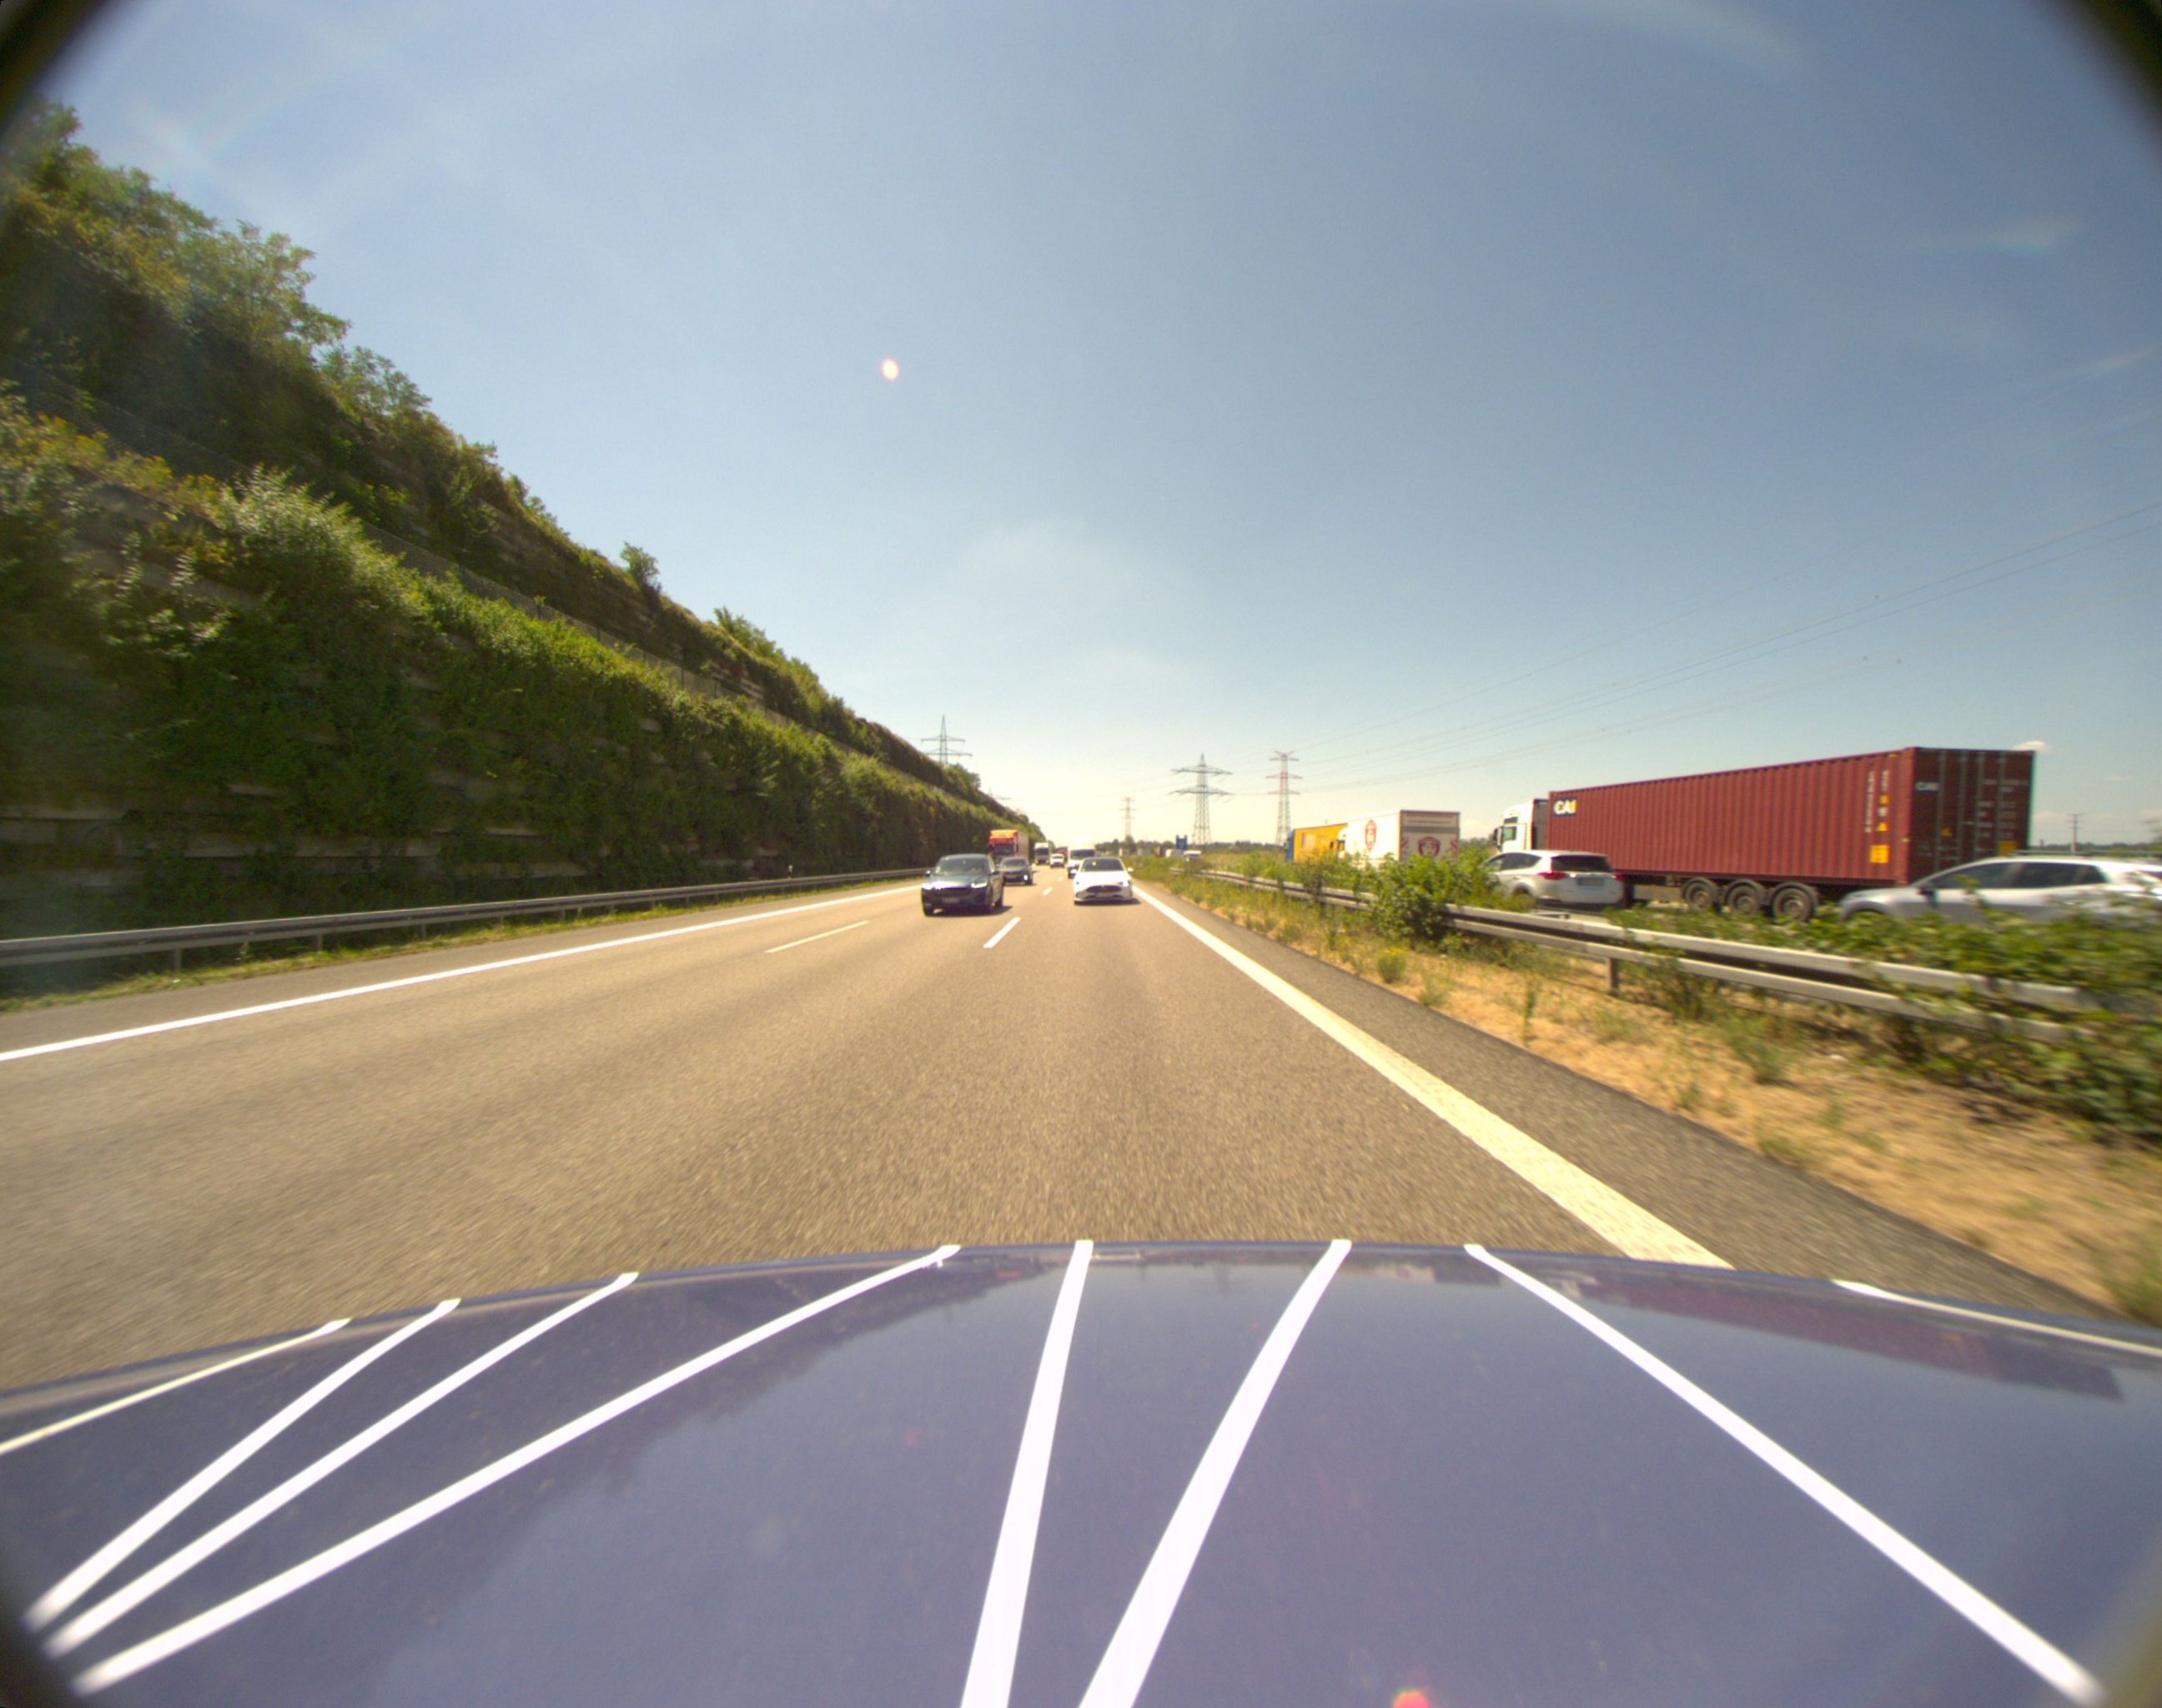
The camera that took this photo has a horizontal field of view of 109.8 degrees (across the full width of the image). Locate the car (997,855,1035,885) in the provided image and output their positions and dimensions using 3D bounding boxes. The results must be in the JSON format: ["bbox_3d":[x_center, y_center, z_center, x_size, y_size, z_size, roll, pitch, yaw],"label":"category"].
[{"bbox_3d":[-3.506,0.857,41.762,1.754,1.516,3.995,-1,0,0],"label":"car"}]

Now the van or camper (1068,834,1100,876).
[{"bbox_3d":[0.154,0.061,53.732,2.102,2.752,6.756,-1,0,-1],"label":"van or camper"}]

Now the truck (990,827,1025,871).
[{"bbox_3d":[-6.913,-0.451,72.389,2.624,3.969,6.526,-1,0,0],"label":"truck"}]

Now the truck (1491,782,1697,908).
[{"bbox_3d":[18.481,-0.303,28.032,3.221,4.134,6.438,0,0,0],"label":"truck"}]

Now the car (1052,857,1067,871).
[{"bbox_3d":[-2.792,1.269,98.470,1.784,1.783,3.999,-1,0,-1],"label":"car"}]

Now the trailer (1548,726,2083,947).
[{"bbox_3d":[18.415,-0.384,21.273,3.201,4.281,12.270,-2,0,1],"label":"trailer"}]

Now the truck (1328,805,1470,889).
[{"bbox_3d":[14.490,-0.301,35.629,2.944,3.393,9.367,0,0,2],"label":"truck"}]

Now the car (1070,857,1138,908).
[{"bbox_3d":[0.683,0.848,24.670,1.999,1.473,4.108,-1,0,-1],"label":"car"}]

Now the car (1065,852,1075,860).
[{"bbox_3d":[-2.148,0.353,143.015,1.780,1.520,4.000,0,0,1],"label":"car"}]

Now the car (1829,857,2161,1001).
[{"bbox_3d":[13.504,0.885,10.750,1.713,1.650,4.186,0,0,0],"label":"car"}]

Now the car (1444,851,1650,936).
[{"bbox_3d":[10.293,0.765,17.281,1.840,1.658,4.586,-1,0,0],"label":"car"}]

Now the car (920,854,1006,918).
[{"bbox_3d":[-3.288,0.834,21.934,1.798,1.643,4.137,-1,0,0],"label":"car"}]

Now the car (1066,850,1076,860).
[{"bbox_3d":[-1.989,0.206,145.797,1.782,1.717,3.750,-2,0,1],"label":"car"}]

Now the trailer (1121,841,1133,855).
[{"bbox_3d":[15.183,-2.059,249.365,2.776,4.324,14.238,-3,0,0],"label":"trailer"}]

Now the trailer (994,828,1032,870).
[{"bbox_3d":[-6.934,-0.450,79.587,2.652,3.981,13.605,-1,0,0],"label":"trailer"}]

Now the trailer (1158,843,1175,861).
[{"bbox_3d":[19.296,-0.502,171.576,2.743,4.022,9.423,0,0,0],"label":"trailer"}]

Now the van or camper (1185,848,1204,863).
[{"bbox_3d":[19.319,0.165,129.605,2.449,2.503,6.483,0,0,0],"label":"van or camper"}]

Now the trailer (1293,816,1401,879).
[{"bbox_3d":[18.671,-0.424,54.737,2.857,3.954,14.142,0,0,0],"label":"trailer"}]

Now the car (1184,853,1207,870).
[{"bbox_3d":[10.733,0.682,71.606,1.670,1.487,4.000,0,0,1],"label":"car"}]

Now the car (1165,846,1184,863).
[{"bbox_3d":[14.625,0.051,119.749,2.110,2.615,7.467,2,0,1],"label":"car"}]

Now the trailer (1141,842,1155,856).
[{"bbox_3d":[19.403,-1.533,221.062,2.776,3.807,14.239,-1,0,1],"label":"trailer"}]

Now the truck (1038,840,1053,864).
[{"bbox_3d":[-6.375,-0.431,136.850,2.514,4.195,6.255,0,0,0],"label":"truck"}]

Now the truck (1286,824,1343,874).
[{"bbox_3d":[18.683,-0.383,61.168,2.870,3.885,5.620,0,0,0],"label":"truck"}]
